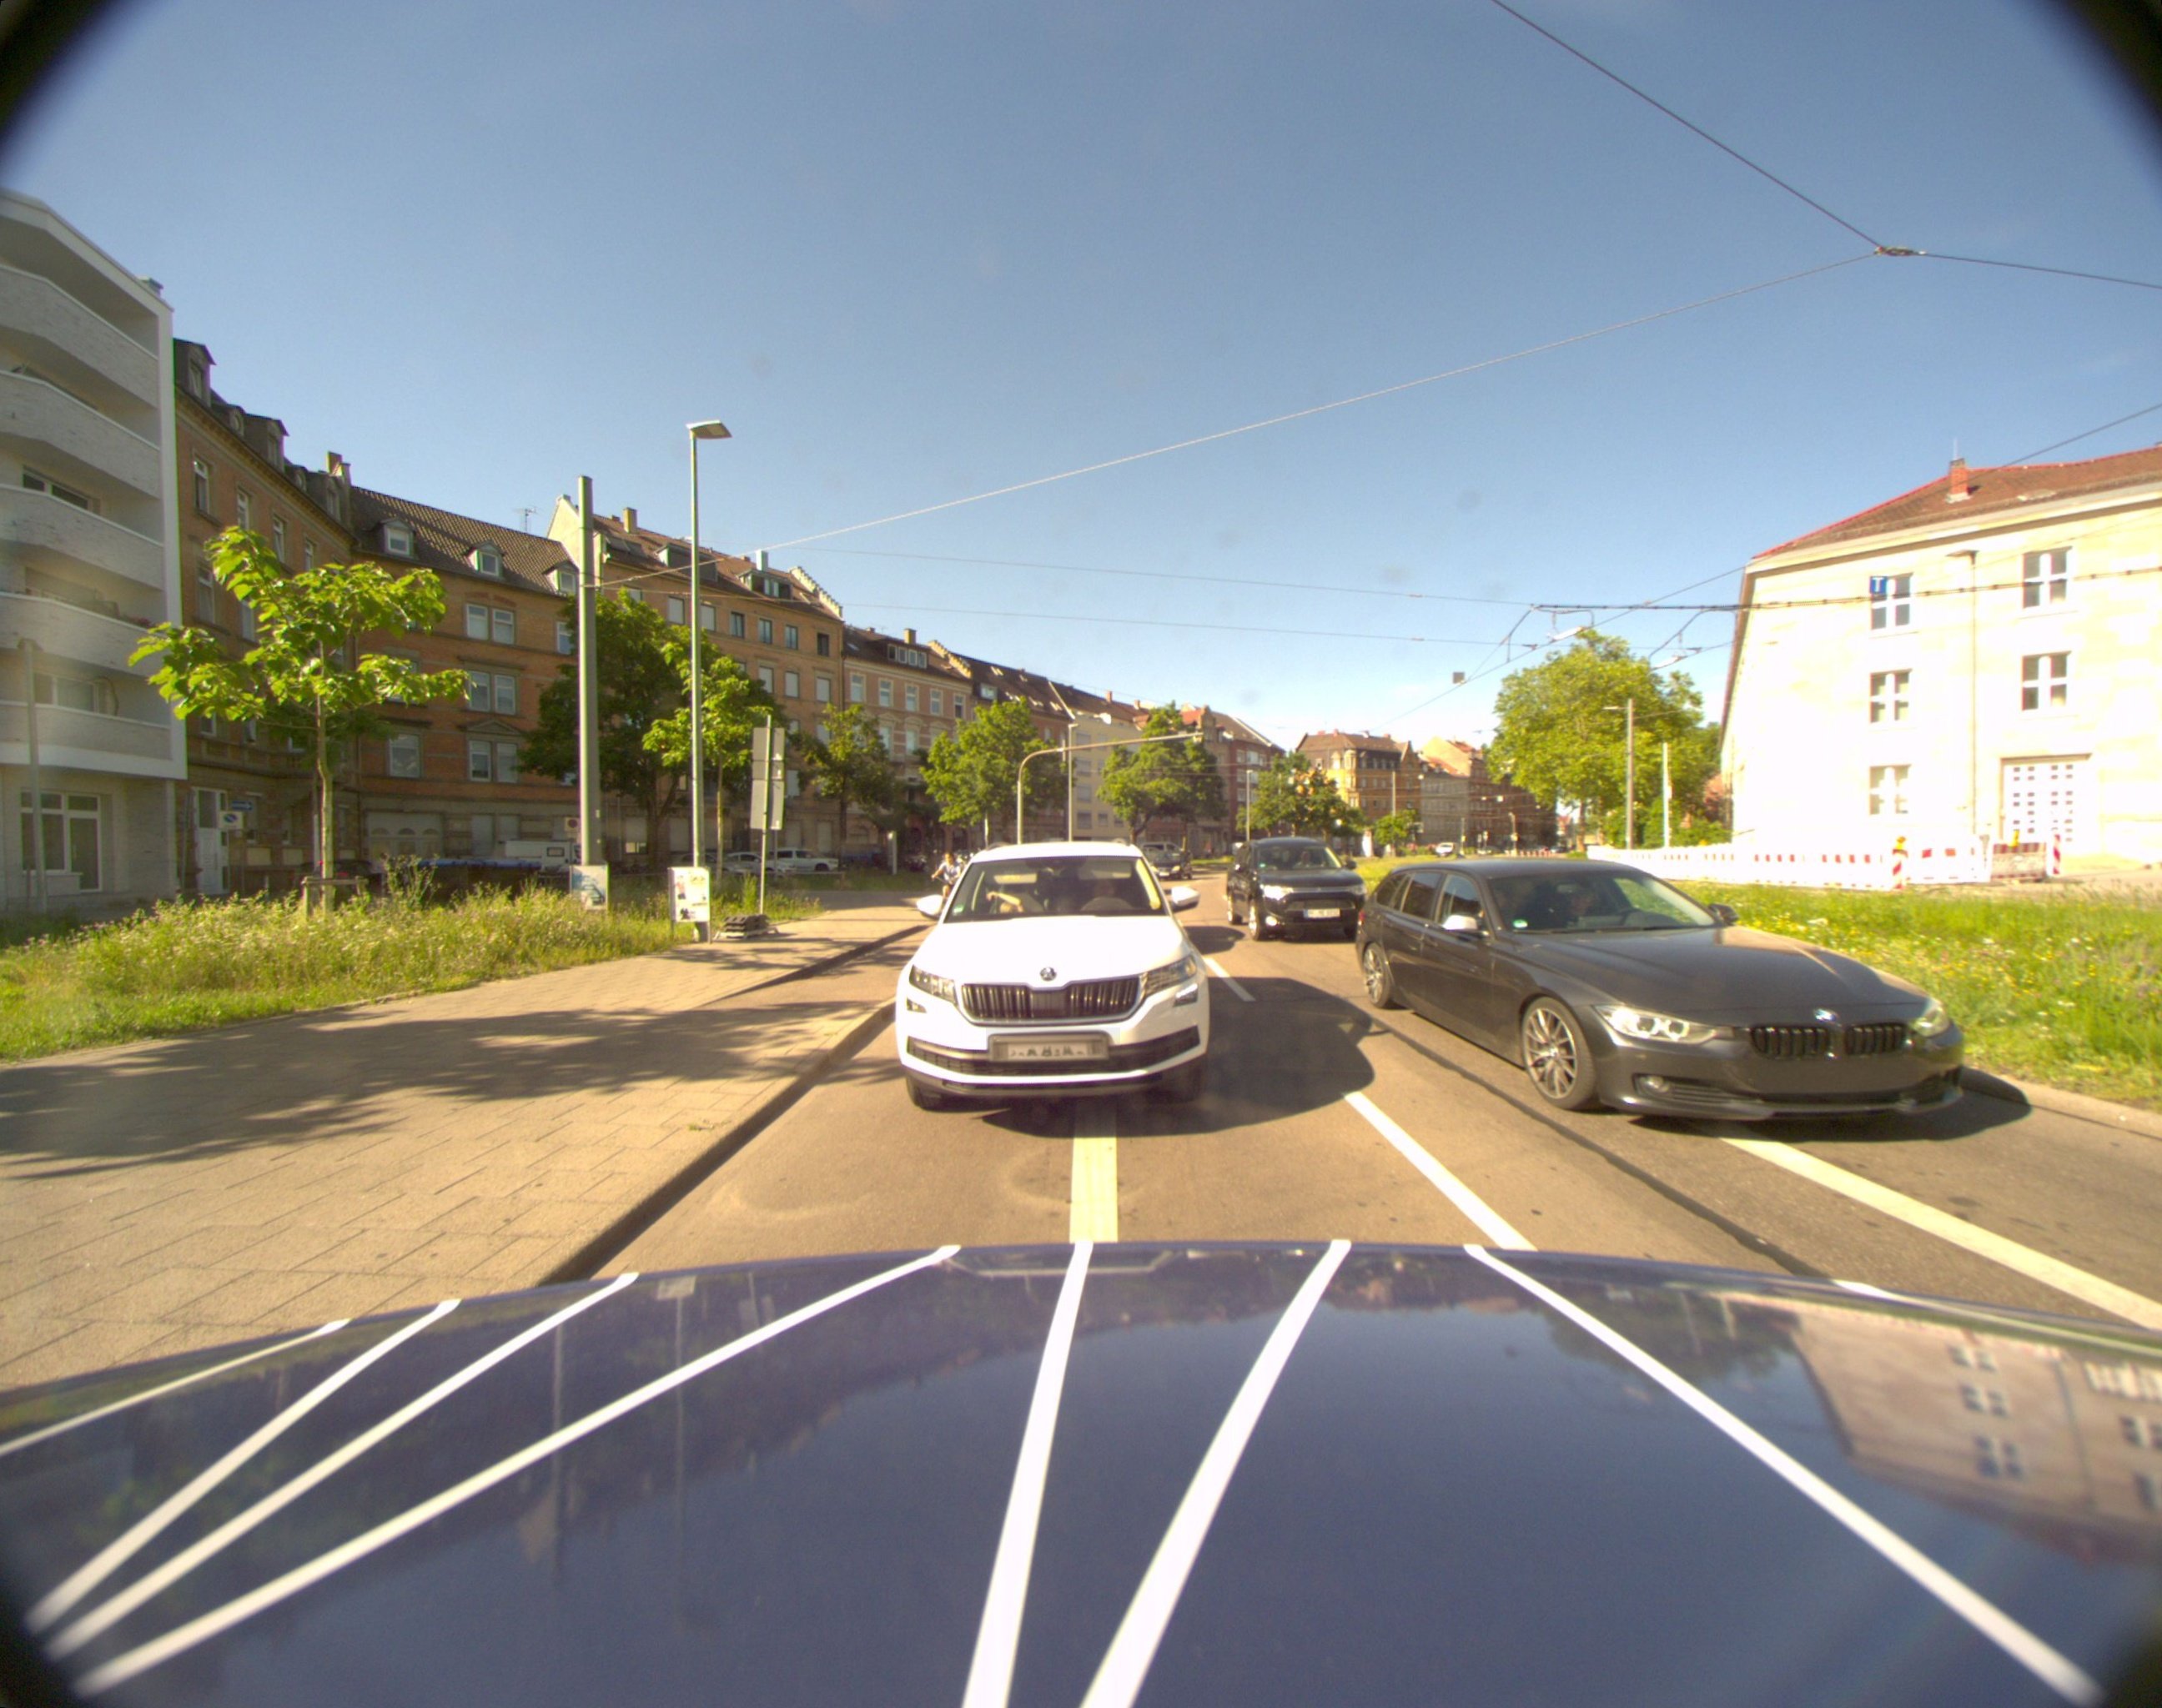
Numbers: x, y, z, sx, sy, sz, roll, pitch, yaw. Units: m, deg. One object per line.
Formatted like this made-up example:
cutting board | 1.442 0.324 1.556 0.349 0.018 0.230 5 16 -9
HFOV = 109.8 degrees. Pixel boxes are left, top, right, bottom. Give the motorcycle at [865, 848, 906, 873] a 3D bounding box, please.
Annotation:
motorcycle | -11.142 0.363 43.289 2.200 1.315 0.664 -2 1 18

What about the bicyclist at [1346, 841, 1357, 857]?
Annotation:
bicyclist | 29.114 -0.554 81.856 0.734 1.685 0.973 0 1 44

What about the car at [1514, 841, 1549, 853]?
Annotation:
car | 63.892 -1.033 107.783 4.058 1.647 1.770 1 2 34

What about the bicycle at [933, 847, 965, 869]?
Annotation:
bicycle | -7.722 0.246 44.514 0.664 1.260 2.198 -3 1 -45

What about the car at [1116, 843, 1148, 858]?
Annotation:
car | 5.477 -0.416 80.723 1.547 1.578 3.607 1 2 41

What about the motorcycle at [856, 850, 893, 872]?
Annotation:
motorcycle | -12.596 0.408 46.400 2.199 1.260 0.664 -2 1 24

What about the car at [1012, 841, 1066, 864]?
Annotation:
car | -3.100 -0.131 56.099 3.825 1.698 1.682 0 1 3

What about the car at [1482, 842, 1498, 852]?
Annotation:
car | 62.541 -1.052 116.220 1.836 1.464 4.722 1 1 31

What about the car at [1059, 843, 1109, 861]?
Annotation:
car | 0.268 -0.154 61.160 3.823 1.398 1.600 0 1 6

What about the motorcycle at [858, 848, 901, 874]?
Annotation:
motorcycle | -11.172 0.380 42.203 2.200 1.322 0.663 -2 1 13

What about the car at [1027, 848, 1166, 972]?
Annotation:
car | 0.240 0.765 12.603 1.842 1.636 4.397 -2 0 1

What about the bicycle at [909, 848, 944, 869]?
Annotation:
bicycle | -9.503 0.285 46.708 2.198 1.260 0.664 -2 1 32

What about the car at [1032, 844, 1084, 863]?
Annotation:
car | -1.768 -0.048 58.708 3.823 1.398 1.600 0 1 6

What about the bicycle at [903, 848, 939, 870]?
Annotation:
bicycle | -9.700 0.300 46.004 2.198 1.260 0.664 -2 1 32

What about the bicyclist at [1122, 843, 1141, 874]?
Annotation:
bicyclist | 2.874 0.243 43.142 0.714 1.715 1.096 1 1 24

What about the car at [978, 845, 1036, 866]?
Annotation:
car | -5.220 0.093 53.960 3.822 1.398 1.683 0 1 9

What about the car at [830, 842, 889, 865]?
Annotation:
car | -15.603 -0.049 53.667 1.547 1.578 3.709 1 2 41

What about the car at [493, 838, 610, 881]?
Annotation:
car | -27.111 0.224 39.006 2.047 2.026 4.510 1 2 41

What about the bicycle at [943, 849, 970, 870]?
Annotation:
bicycle | -7.679 0.346 46.756 0.664 1.260 2.199 -3 1 -36

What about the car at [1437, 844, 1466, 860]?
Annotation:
car | 49.306 -0.273 101.109 1.977 2.074 4.723 1 2 44

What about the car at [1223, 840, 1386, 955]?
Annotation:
car | 3.702 0.628 13.393 1.841 1.636 4.399 -2 0 5

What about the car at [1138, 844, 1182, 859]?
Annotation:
car | 7.134 -0.244 68.174 3.823 1.372 1.600 0 1 9

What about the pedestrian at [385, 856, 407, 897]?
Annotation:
pedestrian | -25.057 0.822 27.808 0.509 1.448 0.481 -3 2 -38

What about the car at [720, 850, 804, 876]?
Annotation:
car | -16.401 0.446 39.102 3.696 1.244 1.683 0 1 13

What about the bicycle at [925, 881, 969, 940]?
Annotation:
bicycle | -2.730 1.131 15.604 0.669 1.066 1.819 1 0 -3

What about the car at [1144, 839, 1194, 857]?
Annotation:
car | 8.206 -0.584 70.604 4.578 1.658 1.600 0 1 7

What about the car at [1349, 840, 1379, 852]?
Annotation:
car | 46.005 -1.331 123.524 4.336 1.871 1.844 1 2 35

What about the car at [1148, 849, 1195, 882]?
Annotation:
car | 4.872 0.555 40.296 1.837 1.637 4.153 0 1 16

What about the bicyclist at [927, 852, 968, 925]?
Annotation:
bicyclist | -2.716 0.683 15.511 0.669 1.428 0.940 -1 0 -2

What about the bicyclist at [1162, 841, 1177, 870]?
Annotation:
bicyclist | 5.843 0.088 50.139 0.808 1.855 0.751 0 3 27

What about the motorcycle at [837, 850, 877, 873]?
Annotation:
motorcycle | -13.282 0.445 45.015 2.314 1.270 0.664 -2 1 24

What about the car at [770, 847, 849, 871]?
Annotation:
car | -14.674 0.262 41.191 3.700 1.244 1.540 0 1 2

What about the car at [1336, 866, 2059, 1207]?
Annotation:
car | 3.483 0.851 5.589 1.741 1.359 4.426 -2 0 1

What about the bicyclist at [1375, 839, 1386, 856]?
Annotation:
bicyclist | 35.634 -0.791 90.321 0.847 2.002 1.199 0 1 42

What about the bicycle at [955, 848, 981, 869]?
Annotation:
bicycle | -7.116 0.314 47.749 0.664 1.260 2.199 -3 1 -36

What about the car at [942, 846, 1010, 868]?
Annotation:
car | -7.036 0.181 51.291 4.322 1.398 1.682 0 1 3

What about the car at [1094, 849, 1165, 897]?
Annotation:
car | 1.860 0.630 27.615 1.837 1.543 4.152 0 1 14

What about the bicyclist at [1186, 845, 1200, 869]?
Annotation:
bicyclist | 7.906 0.215 53.497 0.629 1.619 0.973 0 1 32

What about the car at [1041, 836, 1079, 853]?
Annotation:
car | -1.932 -0.936 71.661 1.547 1.578 3.607 1 2 41

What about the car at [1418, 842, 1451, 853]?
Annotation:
car | 53.424 -1.049 114.850 1.770 1.647 4.058 -2 2 -43

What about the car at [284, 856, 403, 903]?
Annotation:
car | -26.162 0.836 27.145 1.835 1.419 4.378 -1 1 -27

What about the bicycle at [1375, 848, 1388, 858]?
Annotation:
bicycle | 35.681 -0.099 90.298 0.762 1.138 2.287 0 1 41

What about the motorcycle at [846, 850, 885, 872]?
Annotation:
motorcycle | -12.934 0.421 45.621 2.314 1.276 0.664 -2 1 24

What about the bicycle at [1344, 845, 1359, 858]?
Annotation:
bicycle | 29.161 -0.245 81.863 0.735 1.353 2.079 0 1 44

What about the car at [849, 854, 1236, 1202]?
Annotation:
car | -0.223 0.857 5.945 1.842 1.636 4.397 -2 0 -1

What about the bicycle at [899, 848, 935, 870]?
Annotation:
bicycle | -9.736 0.312 45.066 2.198 1.260 0.664 -2 1 30

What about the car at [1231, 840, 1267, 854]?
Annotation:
car | 18.703 -0.816 84.653 3.823 1.581 1.600 0 1 6

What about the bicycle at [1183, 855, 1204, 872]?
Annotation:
bicycle | 7.929 0.663 53.534 0.636 1.190 2.158 0 1 31

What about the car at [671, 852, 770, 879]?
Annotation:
car | -17.493 0.540 36.903 4.156 1.244 1.683 0 1 13

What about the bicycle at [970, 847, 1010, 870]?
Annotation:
bicycle | -5.469 0.273 45.735 2.207 1.260 0.662 -3 1 -25
